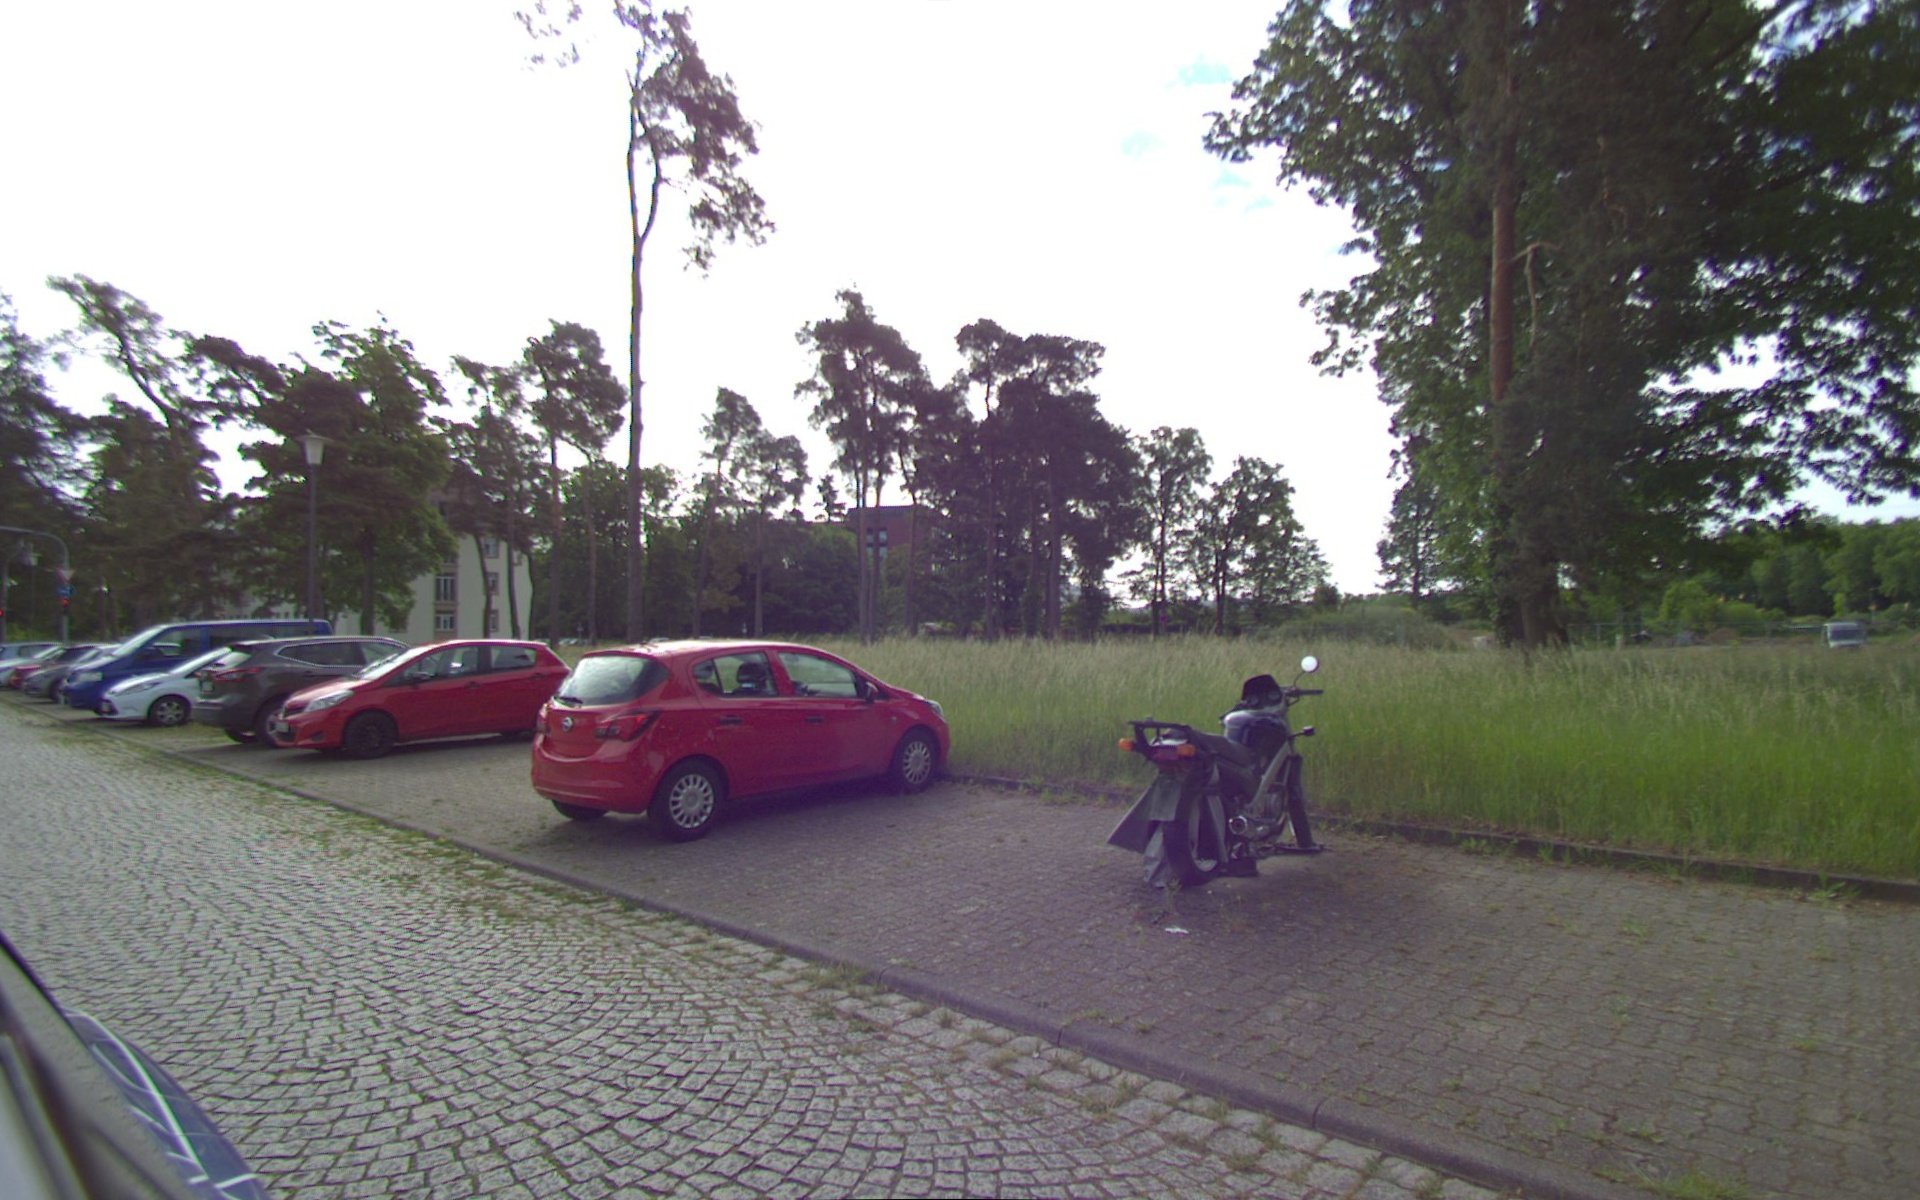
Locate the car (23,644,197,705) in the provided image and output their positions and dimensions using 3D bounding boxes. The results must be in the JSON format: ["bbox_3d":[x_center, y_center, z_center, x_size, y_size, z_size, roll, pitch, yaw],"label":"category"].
[{"bbox_3d":[-24.464,2.099,29.233,1.602,1.445,3.532,-2,0,34],"label":"car"}]

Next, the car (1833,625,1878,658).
[{"bbox_3d":[62.209,2.873,70.364,2.036,2.029,4.175,-2,0,39],"label":"car"}]

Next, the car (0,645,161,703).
[{"bbox_3d":[-26.653,2.191,30.639,1.634,1.427,3.532,-2,0,34],"label":"car"}]

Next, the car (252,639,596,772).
[{"bbox_3d":[-7.331,1.352,14.121,1.706,1.532,3.899,-4,-3,41],"label":"car"}]

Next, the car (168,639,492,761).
[{"bbox_3d":[-9.561,1.423,15.615,1.819,1.616,3.867,-3,-3,38],"label":"car"}]

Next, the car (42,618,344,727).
[{"bbox_3d":[-16.248,1.431,21.678,2.159,1.880,4.773,-2,0,39],"label":"car"}]

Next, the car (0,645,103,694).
[{"bbox_3d":[-32.364,2.425,35.282,1.625,1.469,3.527,-2,0,39],"label":"car"}]

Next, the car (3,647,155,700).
[{"bbox_3d":[-28.394,2.323,32.676,1.621,1.358,3.600,-2,0,45],"label":"car"}]

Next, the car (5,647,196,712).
[{"bbox_3d":[-22.649,2.035,26.783,1.614,1.431,3.559,-2,0,34],"label":"car"}]

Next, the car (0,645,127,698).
[{"bbox_3d":[-30.172,2.338,33.616,1.598,1.498,3.533,-2,0,33],"label":"car"}]

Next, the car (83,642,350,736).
[{"bbox_3d":[-14.410,1.645,19.776,1.741,1.403,3.881,-2,0,39],"label":"car"}]

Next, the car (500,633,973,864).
[{"bbox_3d":[-1.760,1.090,8.915,1.670,1.490,3.844,-3,-2,40],"label":"car"}]

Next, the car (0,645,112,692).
[{"bbox_3d":[-33.884,2.507,37.517,1.623,1.442,3.419,-2,0,31],"label":"car"}]

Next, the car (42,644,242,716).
[{"bbox_3d":[-20.405,1.933,25.370,1.683,1.465,3.559,-2,0,34],"label":"car"}]

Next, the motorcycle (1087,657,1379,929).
[{"bbox_3d":[1.763,1.031,6.213,0.743,1.298,2.330,-3,-3,41],"label":"motorcycle"}]
